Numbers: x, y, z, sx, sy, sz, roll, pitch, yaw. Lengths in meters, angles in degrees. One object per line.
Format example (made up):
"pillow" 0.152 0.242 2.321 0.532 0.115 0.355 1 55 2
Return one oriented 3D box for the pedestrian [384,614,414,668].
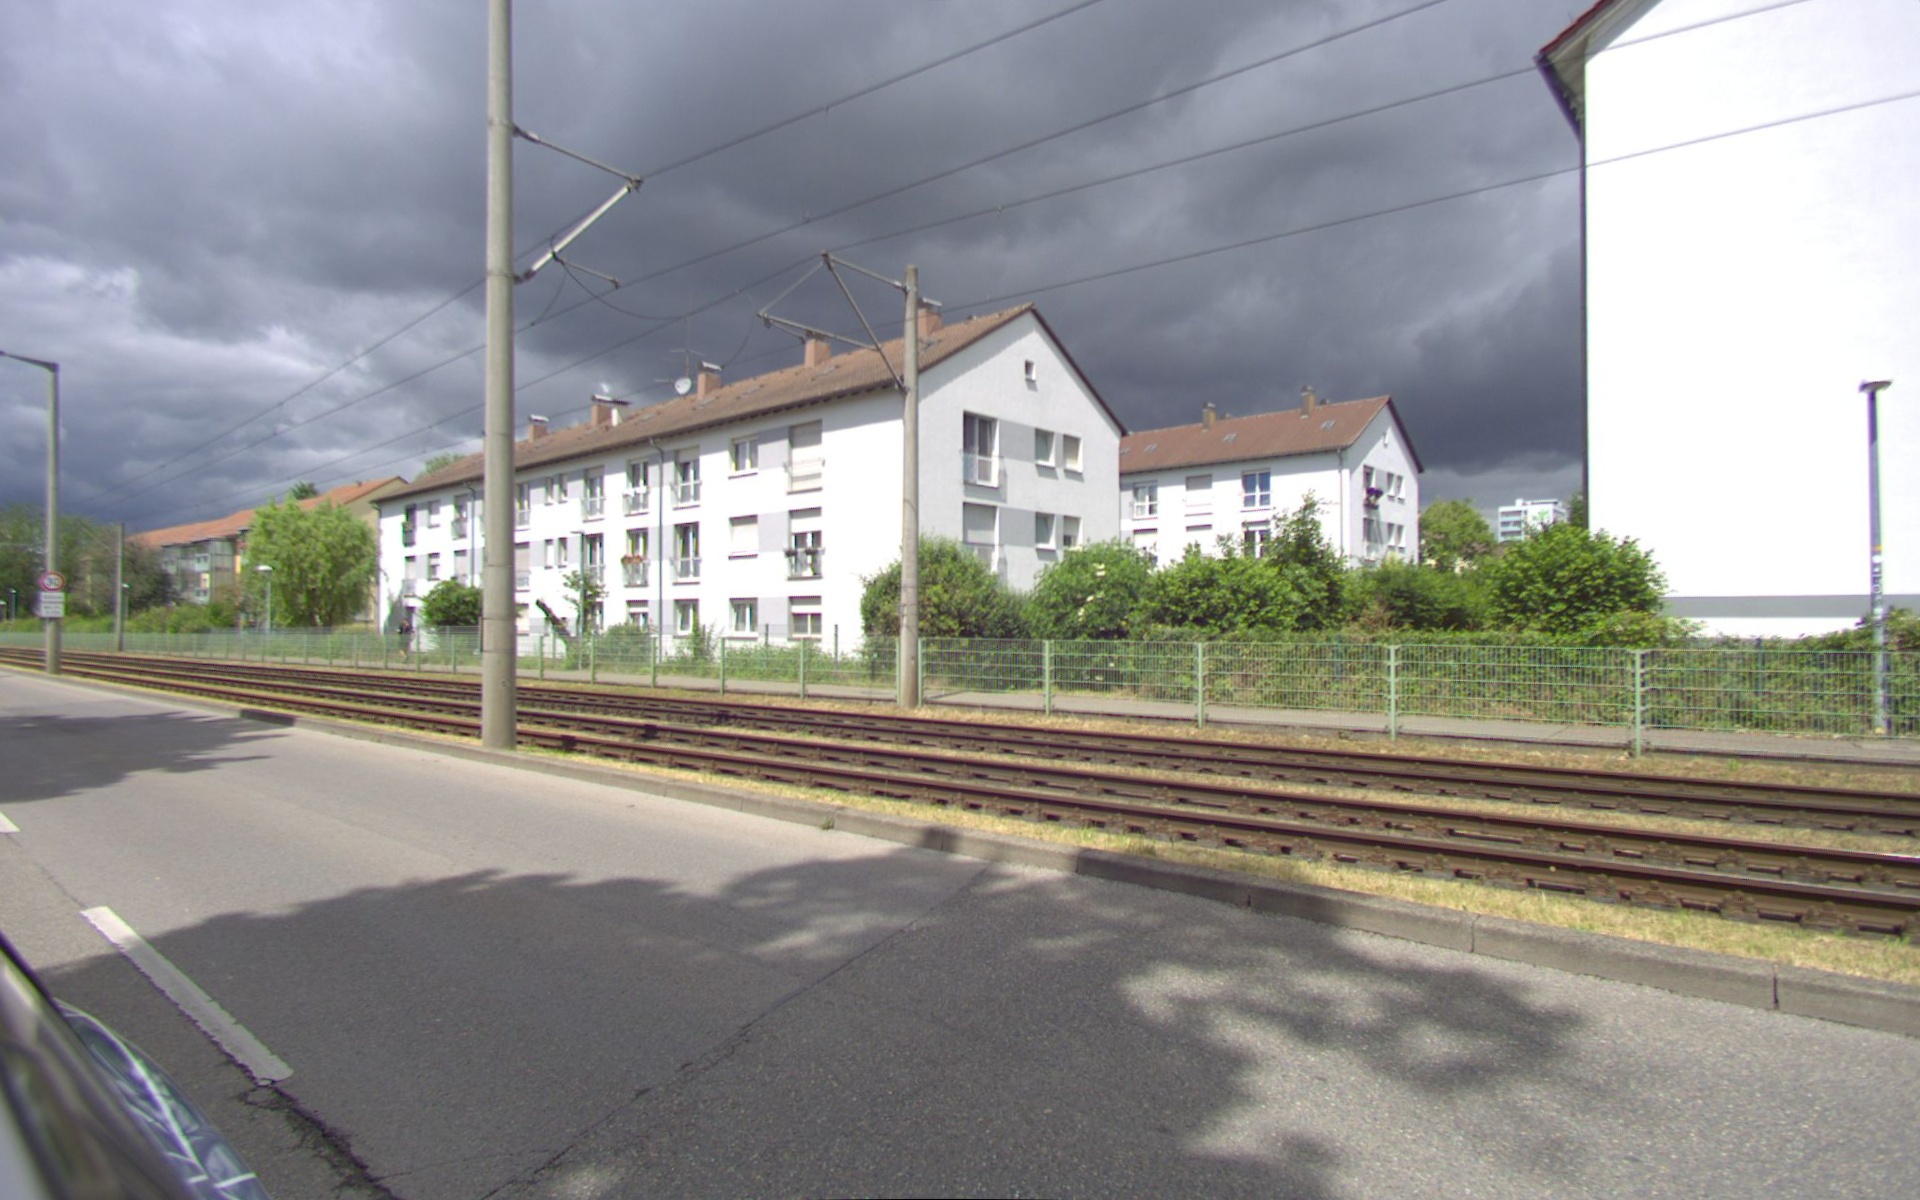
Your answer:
"pedestrian" -19.402 1.421 34.990 0.768 1.863 0.652 -2 -3 40
